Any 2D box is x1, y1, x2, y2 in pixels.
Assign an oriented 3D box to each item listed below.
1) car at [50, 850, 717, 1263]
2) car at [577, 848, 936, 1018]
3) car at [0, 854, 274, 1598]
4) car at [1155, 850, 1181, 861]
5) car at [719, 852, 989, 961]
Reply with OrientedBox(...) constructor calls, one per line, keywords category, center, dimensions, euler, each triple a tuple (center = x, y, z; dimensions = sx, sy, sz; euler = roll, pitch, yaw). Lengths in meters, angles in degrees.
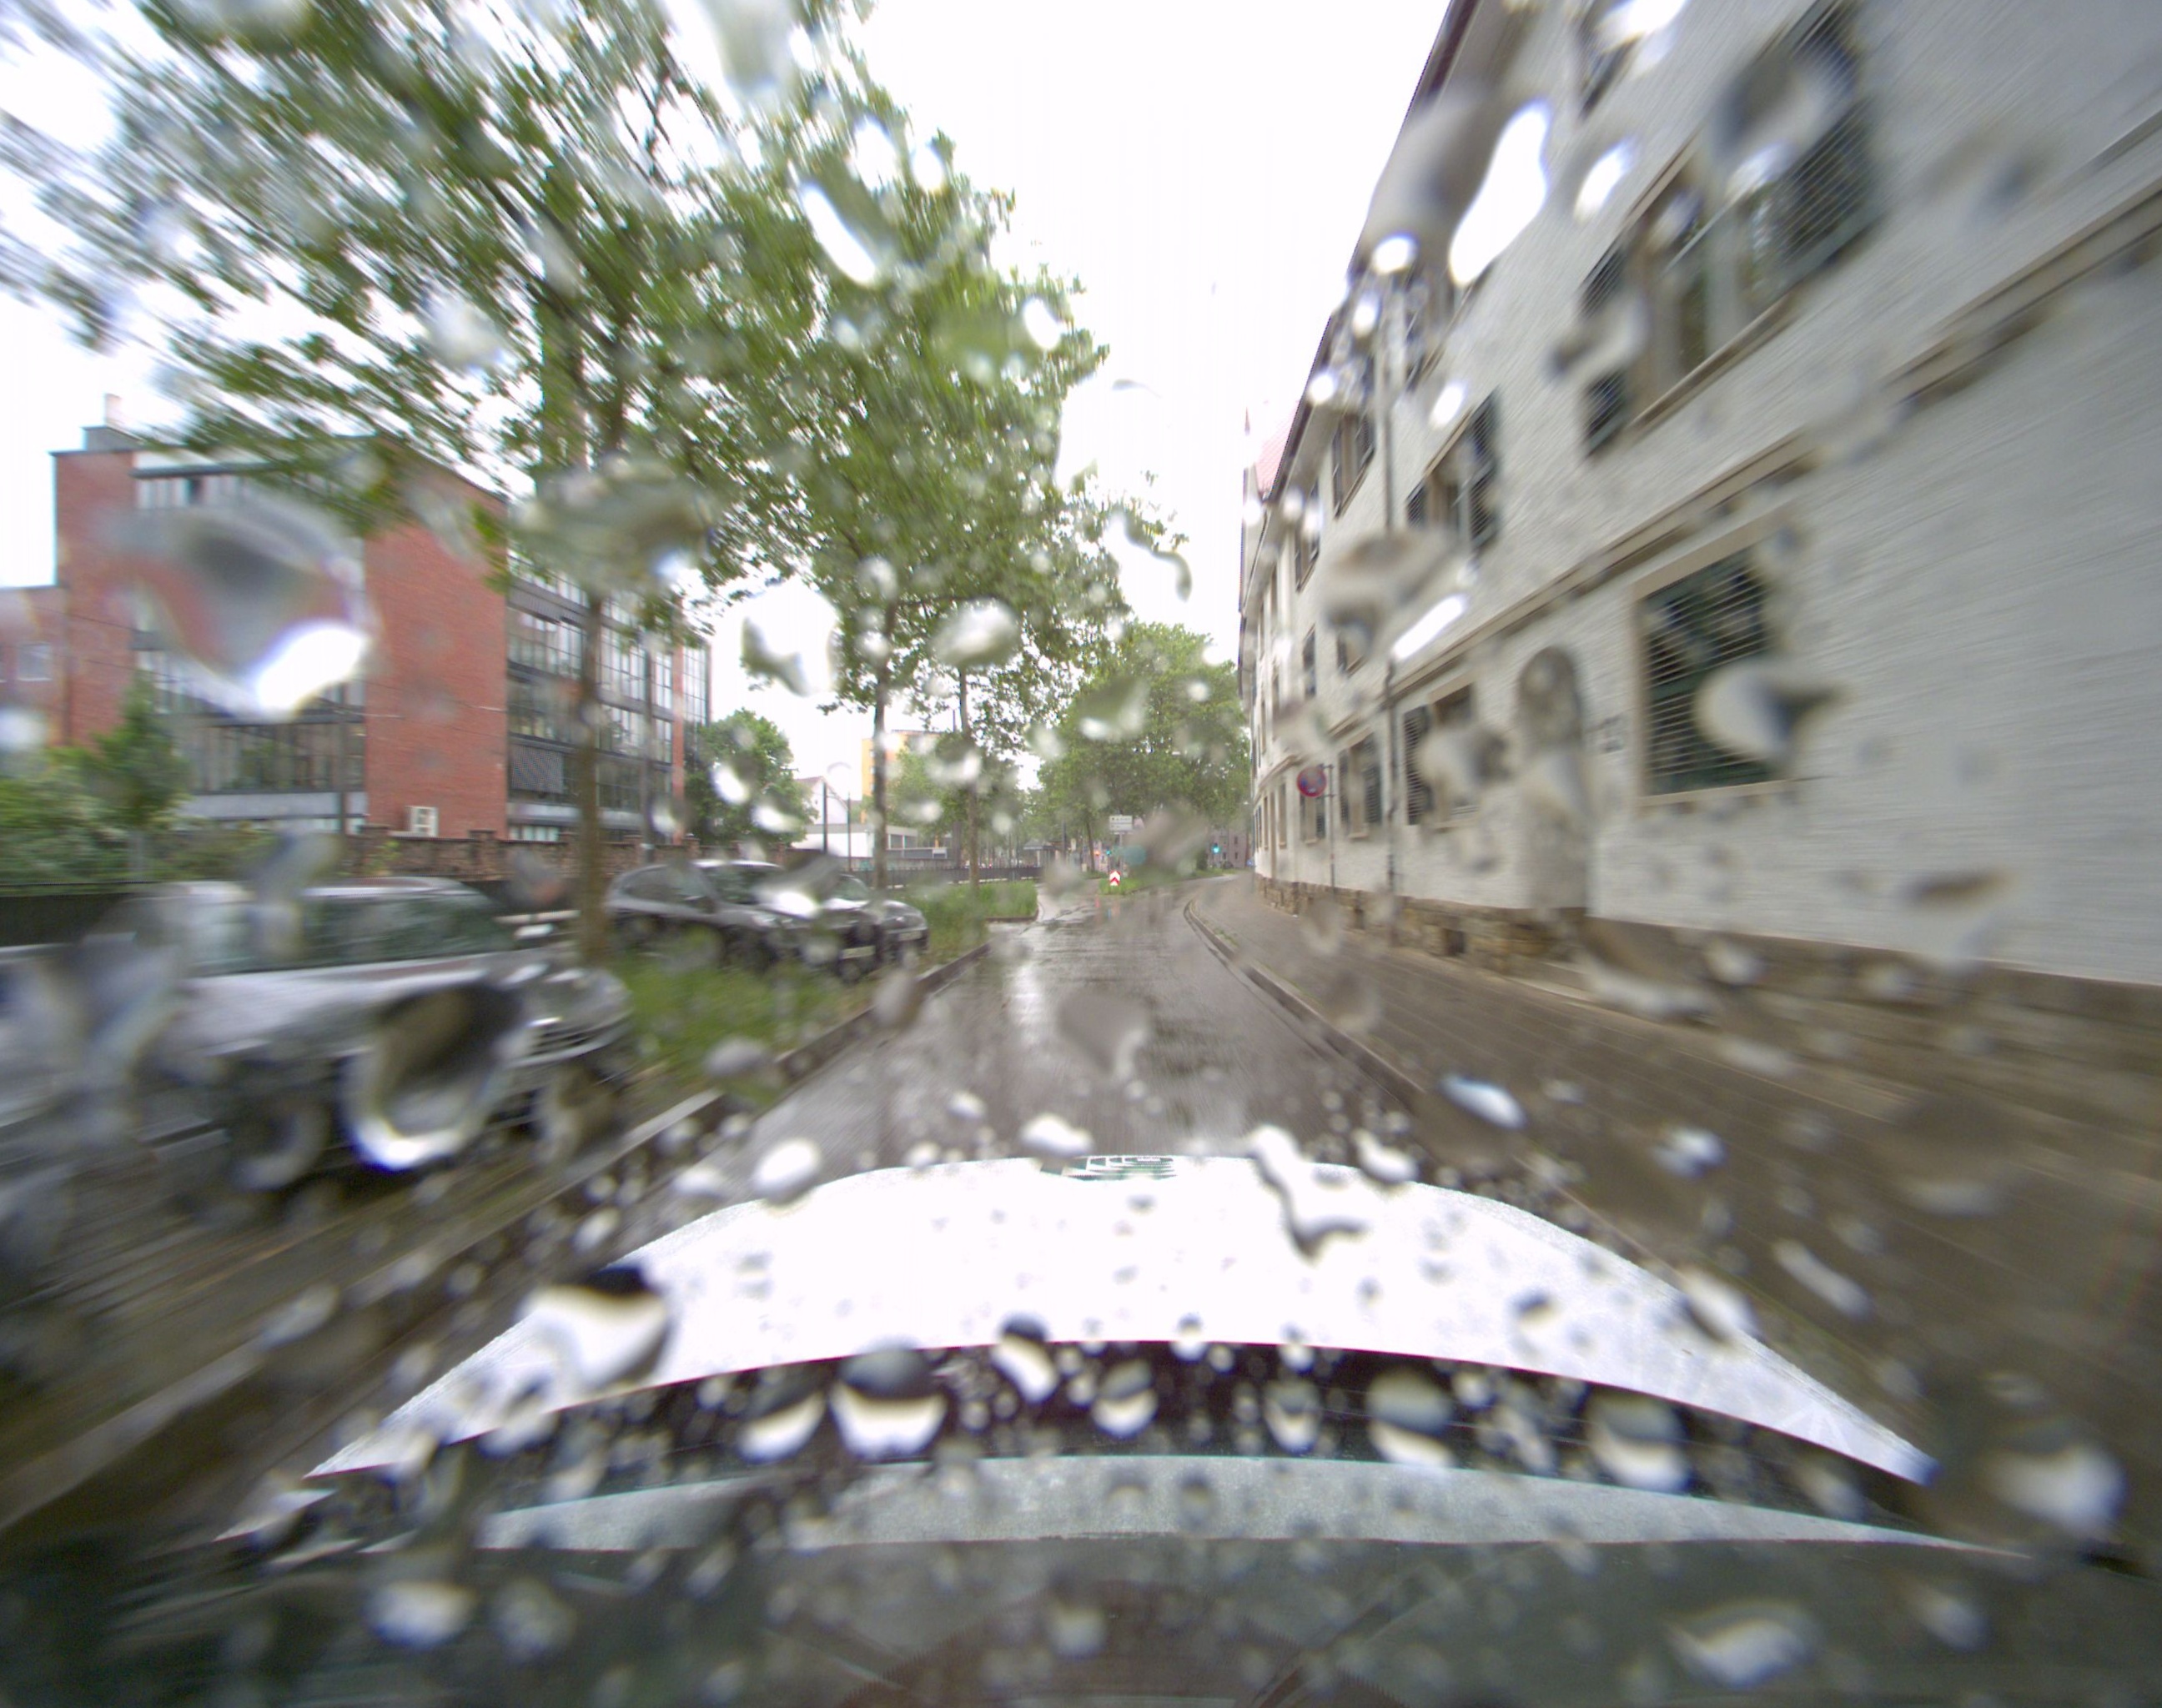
OrientedBox(category="car", center=(-4.561, 0.871, 5.129), dimensions=(4.501, 1.521, 1.936), euler=(-3, 0, 33))
OrientedBox(category="car", center=(-4.317, 0.948, 10.648), dimensions=(4.473, 1.714, 1.973), euler=(-4, 1, 32))
OrientedBox(category="car", center=(-4.570, 0.876, 2.286), dimensions=(4.416, 1.597, 1.935), euler=(-2, 1, 27))
OrientedBox(category="car", center=(13.636, 0.245, 127.531), dimensions=(4.021, 1.597, 1.976), euler=(0, -1, -41))
OrientedBox(category="car", center=(-3.953, 0.888, 14.017), dimensions=(4.308, 1.512, 1.973), euler=(-4, 1, 32))
